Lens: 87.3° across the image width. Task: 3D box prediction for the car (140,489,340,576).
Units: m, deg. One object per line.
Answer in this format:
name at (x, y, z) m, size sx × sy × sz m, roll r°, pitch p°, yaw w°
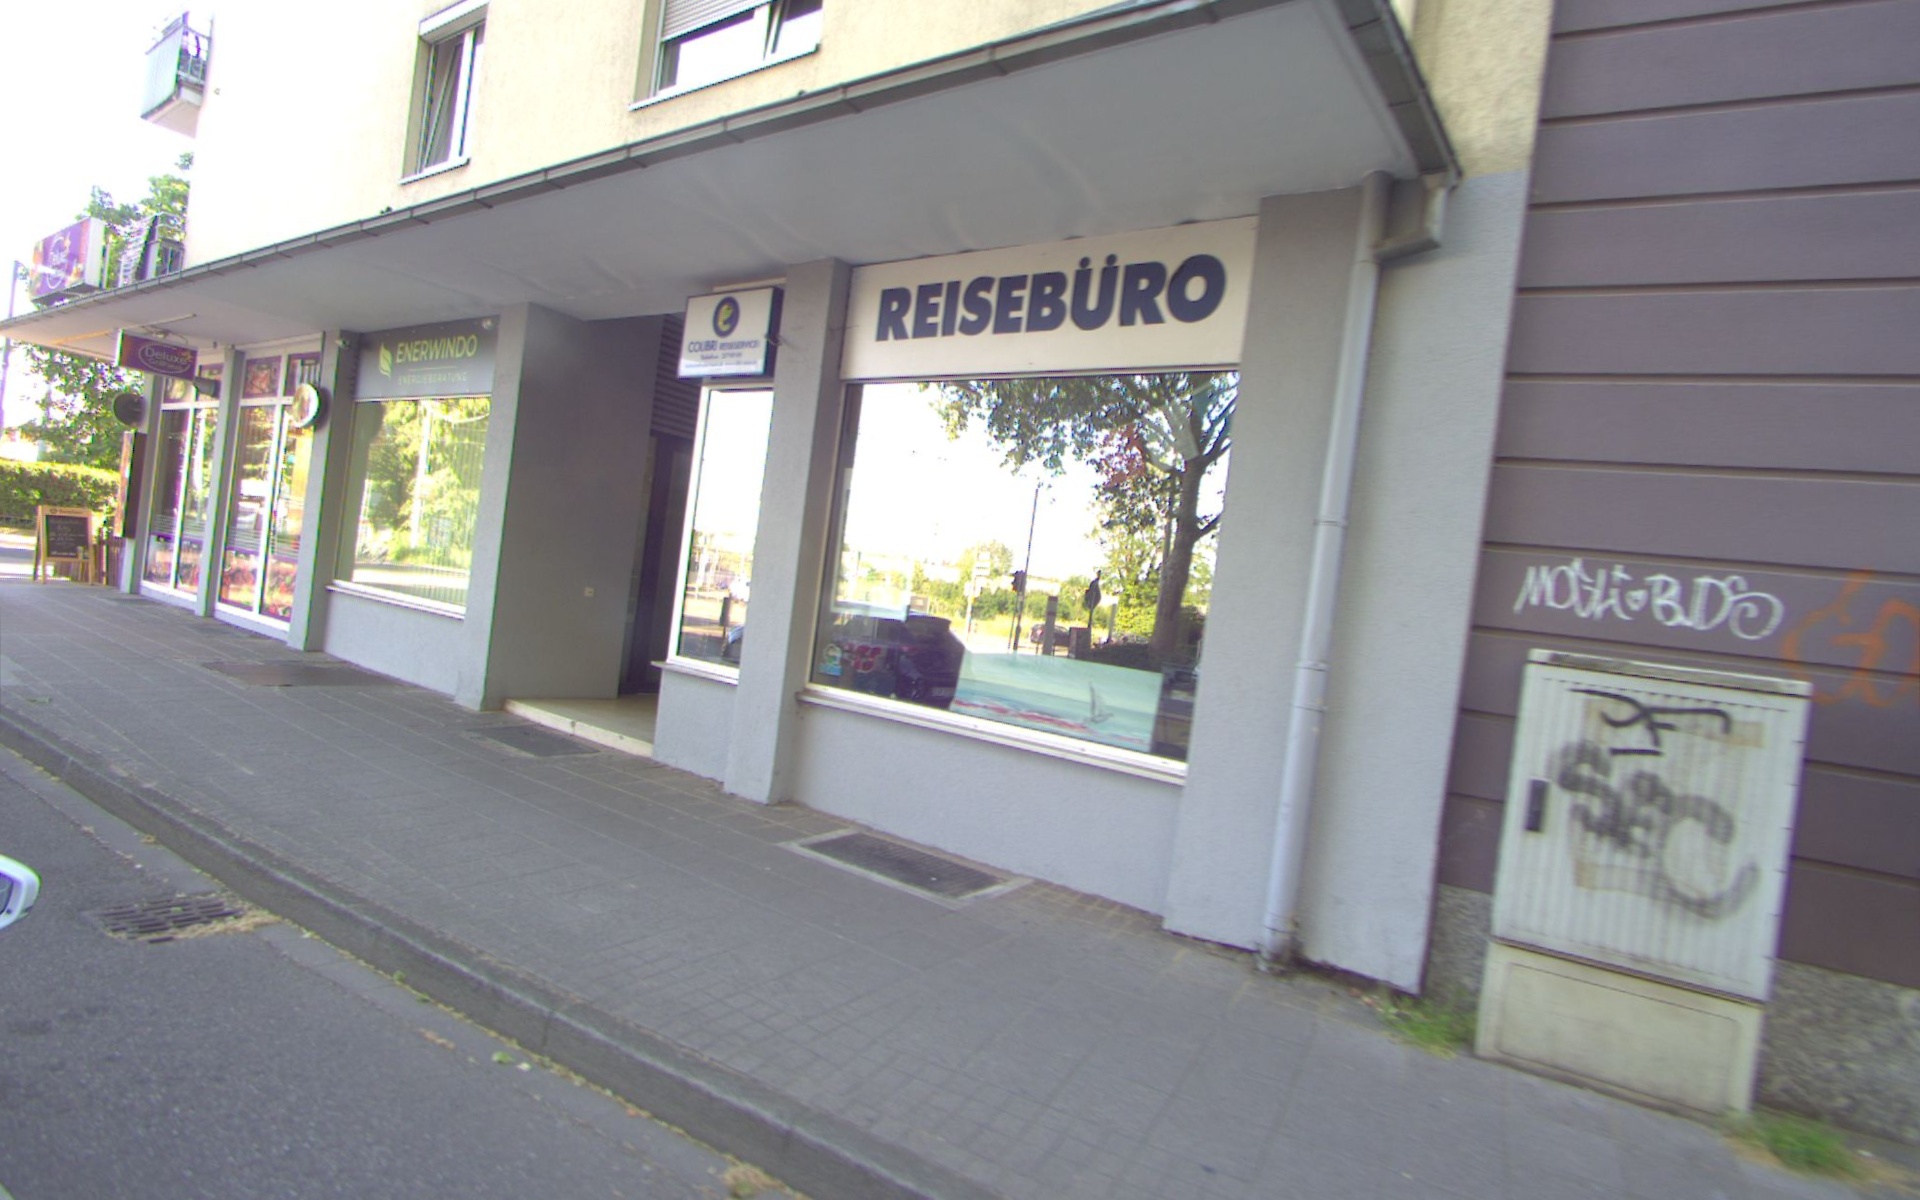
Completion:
car at (-20.112, -1.824, 28.239) m, size 1.781 × 1.835 × 4.172 m, roll 4°, pitch -3°, yaw 40°
